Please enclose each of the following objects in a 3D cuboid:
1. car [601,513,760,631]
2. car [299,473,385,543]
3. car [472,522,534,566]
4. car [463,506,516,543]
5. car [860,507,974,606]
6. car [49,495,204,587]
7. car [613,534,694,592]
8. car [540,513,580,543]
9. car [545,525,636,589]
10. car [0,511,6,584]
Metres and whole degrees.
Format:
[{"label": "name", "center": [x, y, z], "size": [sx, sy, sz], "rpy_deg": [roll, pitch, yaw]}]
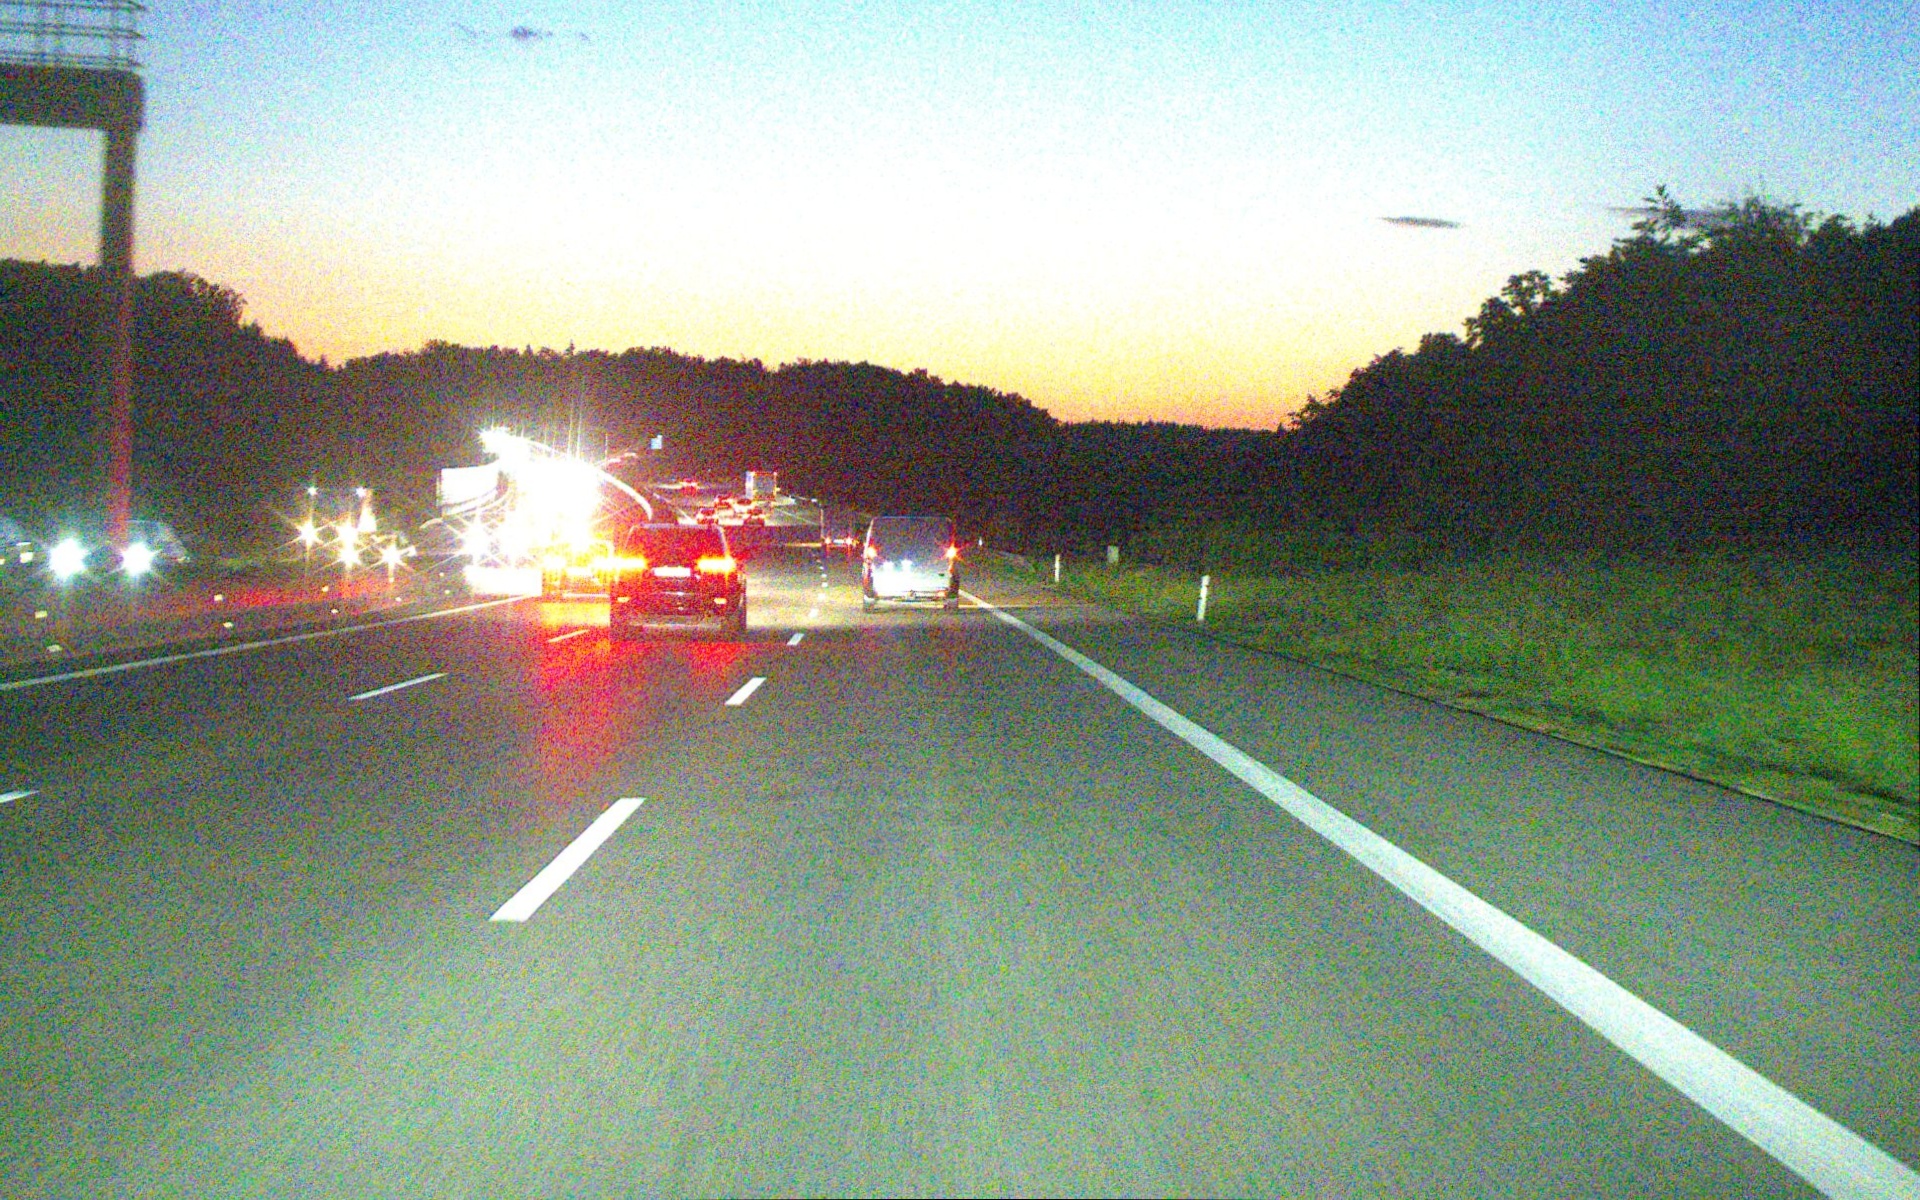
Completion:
[{"label": "car", "center": [-4.230, -0.457, 52.900], "size": [1.993, 1.715, 5.943], "rpy_deg": [0, 1, 0]}, {"label": "car", "center": [-26.759, -3.970, 149.126], "size": [2.458, 2.926, 8.334], "rpy_deg": [1, 1, -2]}, {"label": "car", "center": [-18.725, -2.313, 141.045], "size": [1.993, 1.728, 4.659], "rpy_deg": [1, 1, -1]}, {"label": "car", "center": [-24.592, -3.930, 179.742], "size": [2.145, 1.879, 5.425], "rpy_deg": [1, 1, -2]}, {"label": "car", "center": [-0.943, -0.940, 71.651], "size": [2.196, 1.948, 4.764], "rpy_deg": [0, 2, -3]}, {"label": "car", "center": [-16.480, -1.179, 68.167], "size": [1.993, 1.728, 4.659], "rpy_deg": [1, 1, -1]}, {"label": "car", "center": [-9.113, -1.125, 102.575], "size": [1.780, 1.481, 5.254], "rpy_deg": [4, 2, 1]}, {"label": "car", "center": [-24.148, -4.361, 207.527], "size": [1.993, 1.728, 4.660], "rpy_deg": [1, 1, -2]}, {"label": "car", "center": [-8.593, -1.017, 80.236], "size": [1.549, 1.426, 5.515], "rpy_deg": [0, 1, 0]}, {"label": "car", "center": [-20.834, -1.050, 68.966], "size": [1.993, 1.504, 5.185], "rpy_deg": [1, 1, -1]}]
